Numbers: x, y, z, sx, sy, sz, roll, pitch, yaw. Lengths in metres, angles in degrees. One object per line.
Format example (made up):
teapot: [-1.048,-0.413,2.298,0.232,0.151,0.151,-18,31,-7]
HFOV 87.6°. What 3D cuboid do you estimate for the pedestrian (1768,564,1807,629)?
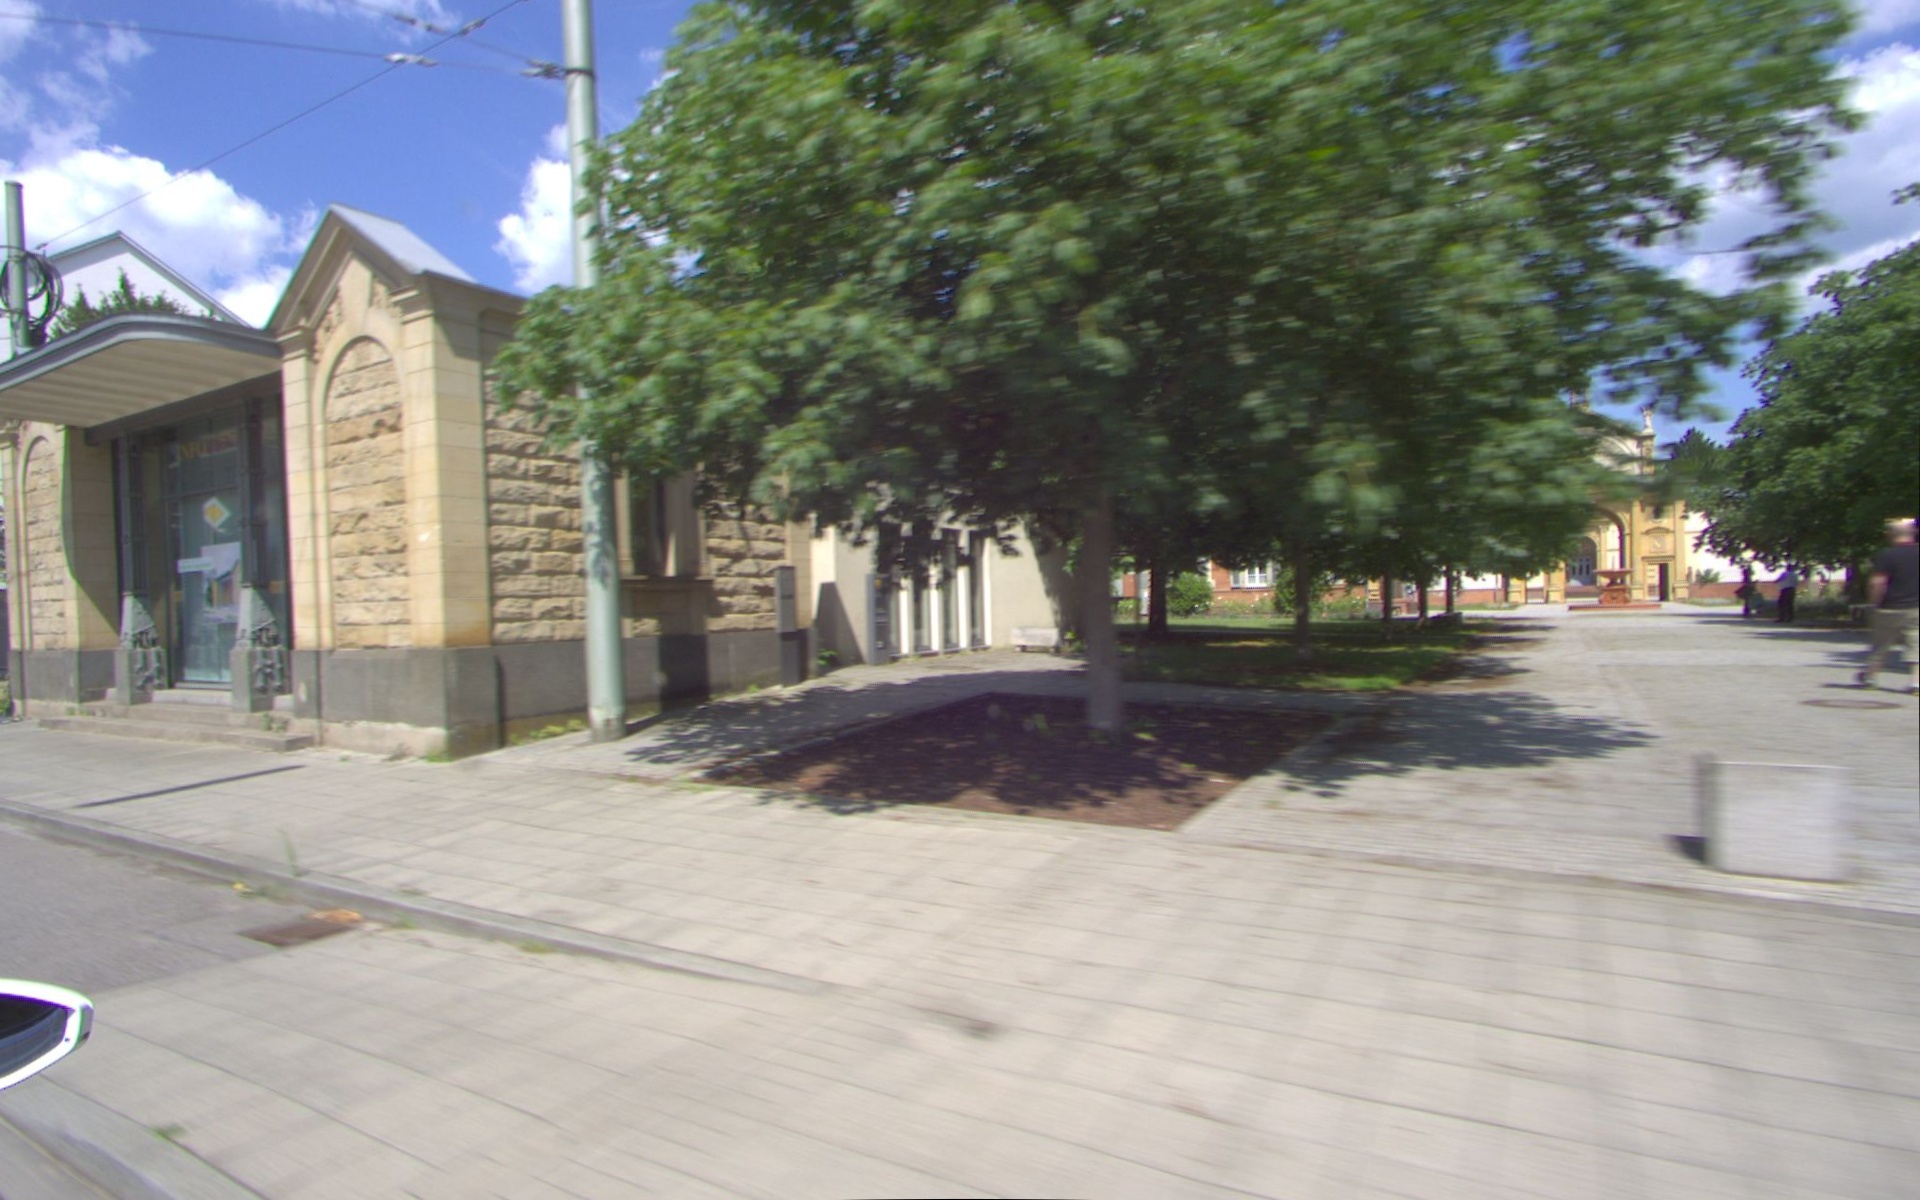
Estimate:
pedestrian: [23.728,-0.095,28.732,0.799,1.822,0.674,-1,1,35]

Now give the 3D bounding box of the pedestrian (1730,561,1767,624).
pedestrian: [23.393,-0.211,29.726,0.799,1.822,0.674,-1,1,35]

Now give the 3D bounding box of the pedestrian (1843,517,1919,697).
pedestrian: [9.733,0.067,10.363,0.799,1.804,0.674,-1,1,35]
